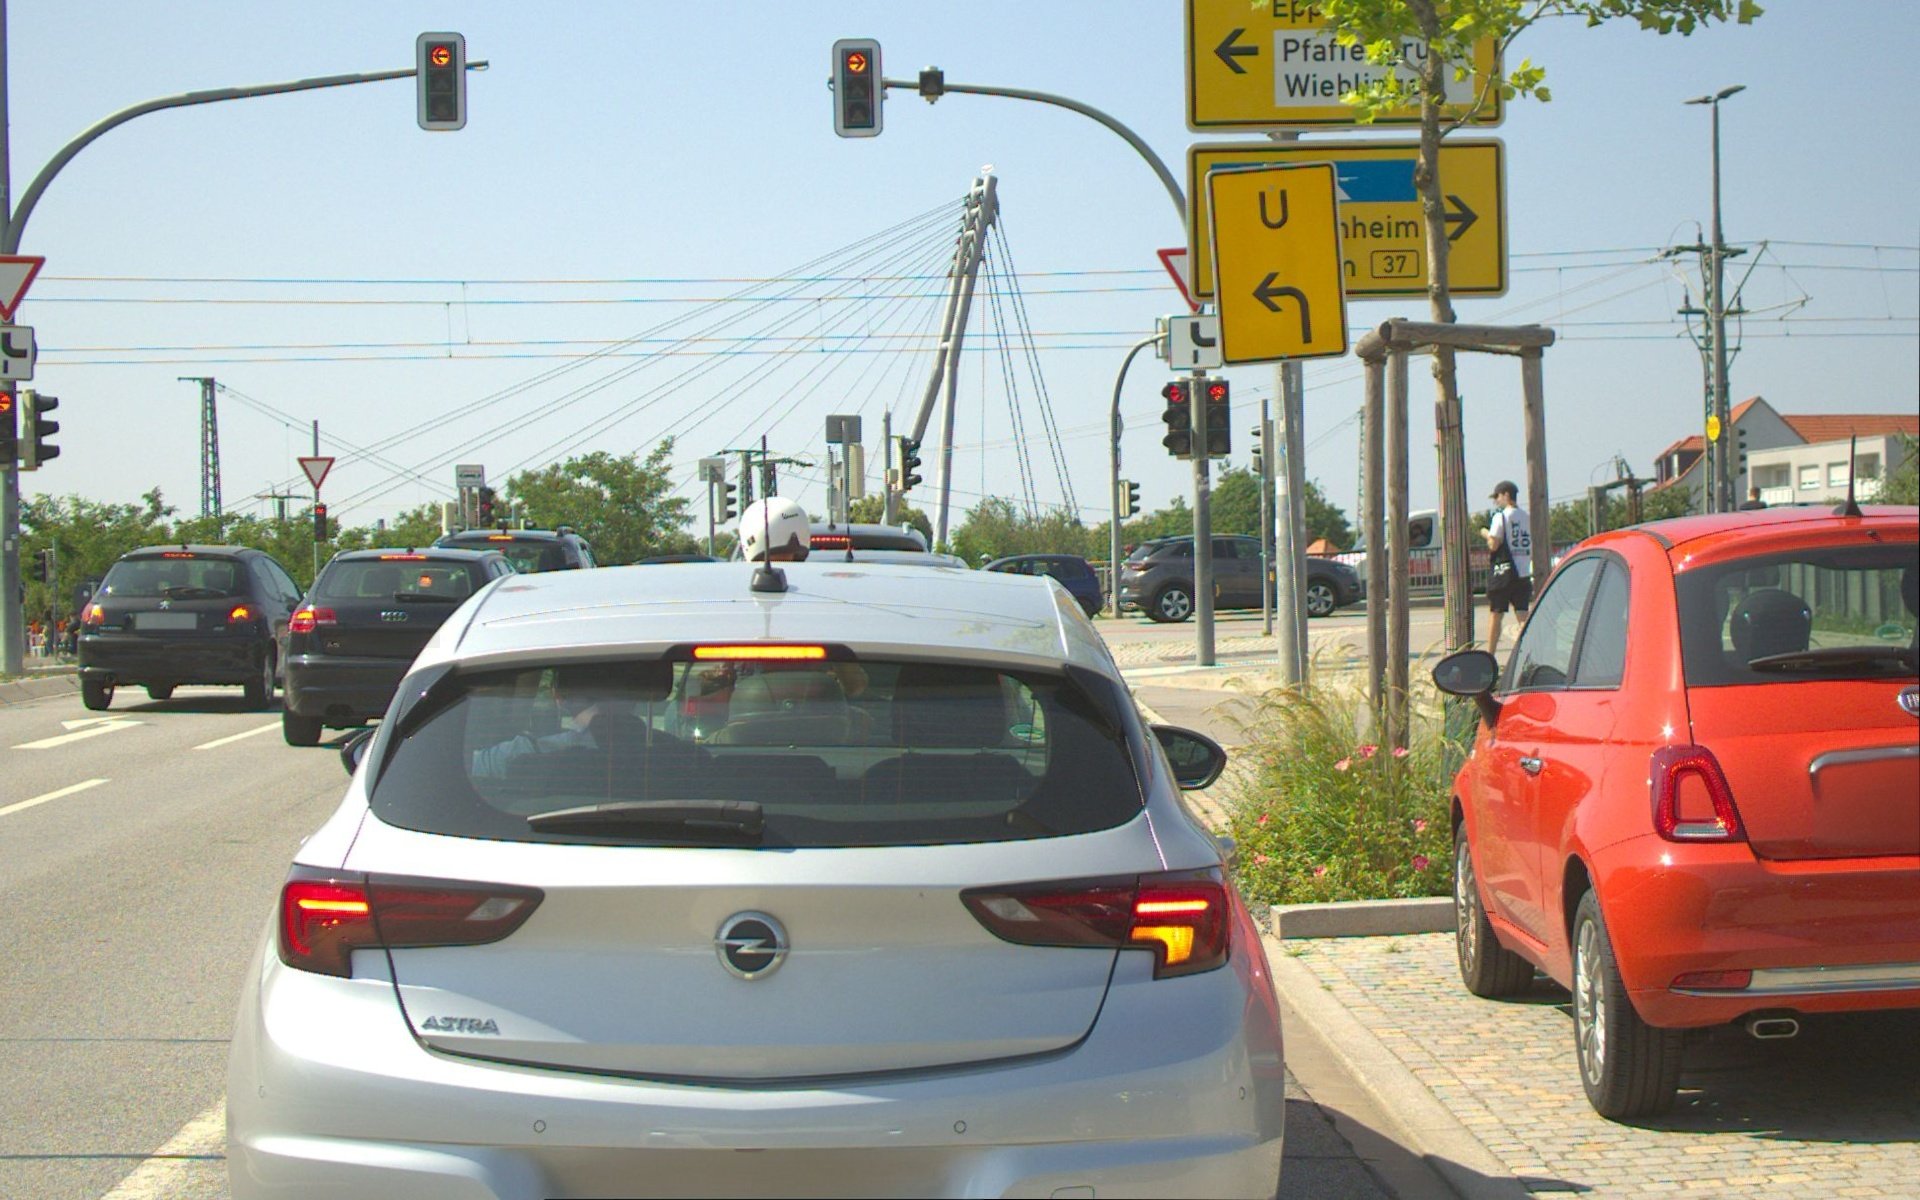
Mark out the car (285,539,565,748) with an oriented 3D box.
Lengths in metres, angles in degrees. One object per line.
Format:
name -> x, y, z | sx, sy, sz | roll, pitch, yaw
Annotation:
car -> -3.917, 0.284, 25.693 | 1.575, 1.429, 3.786 | 1, 1, -1

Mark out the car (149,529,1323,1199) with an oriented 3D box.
car -> -0.439, 0.621, 7.146 | 1.742, 1.473, 4.001 | 1, 1, -3

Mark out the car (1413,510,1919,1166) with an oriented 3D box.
car -> 2.321, 0.518, 9.744 | 1.610, 1.491, 3.352 | -2, 1, 1

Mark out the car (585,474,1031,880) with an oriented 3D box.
car -> -0.712, 0.291, 17.745 | 1.993, 1.814, 4.402 | 1, 2, -1

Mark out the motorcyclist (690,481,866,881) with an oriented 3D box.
motorcyclist -> -0.644, 0.278, 12.311 | 0.581, 1.384, 0.707 | 1, 0, -1

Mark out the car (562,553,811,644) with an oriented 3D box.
car -> -4.966, -0.029, 62.701 | 4.276, 1.626, 1.755 | 0, 0, 6

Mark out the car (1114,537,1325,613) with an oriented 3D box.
car -> 4.780, -0.459, 63.676 | 3.715, 1.379, 1.586 | 0, 0, -3

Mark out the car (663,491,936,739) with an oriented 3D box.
car -> -1.039, 0.035, 23.929 | 1.724, 1.558, 4.000 | 1, 2, 0

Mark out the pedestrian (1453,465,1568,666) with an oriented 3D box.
pedestrian -> 5.090, -0.317, 31.775 | 0.795, 1.830, 0.649 | -1, 0, -30

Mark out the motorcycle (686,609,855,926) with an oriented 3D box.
motorcycle -> -0.657, 0.553, 12.389 | 0.501, 1.010, 2.174 | 1, 1, -1

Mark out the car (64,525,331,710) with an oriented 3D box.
car -> -6.806, 0.131, 31.025 | 1.597, 1.542, 3.762 | 1, 1, -1

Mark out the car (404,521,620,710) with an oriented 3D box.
car -> -4.052, 0.112, 31.579 | 1.649, 1.610, 3.821 | 1, 1, -3
